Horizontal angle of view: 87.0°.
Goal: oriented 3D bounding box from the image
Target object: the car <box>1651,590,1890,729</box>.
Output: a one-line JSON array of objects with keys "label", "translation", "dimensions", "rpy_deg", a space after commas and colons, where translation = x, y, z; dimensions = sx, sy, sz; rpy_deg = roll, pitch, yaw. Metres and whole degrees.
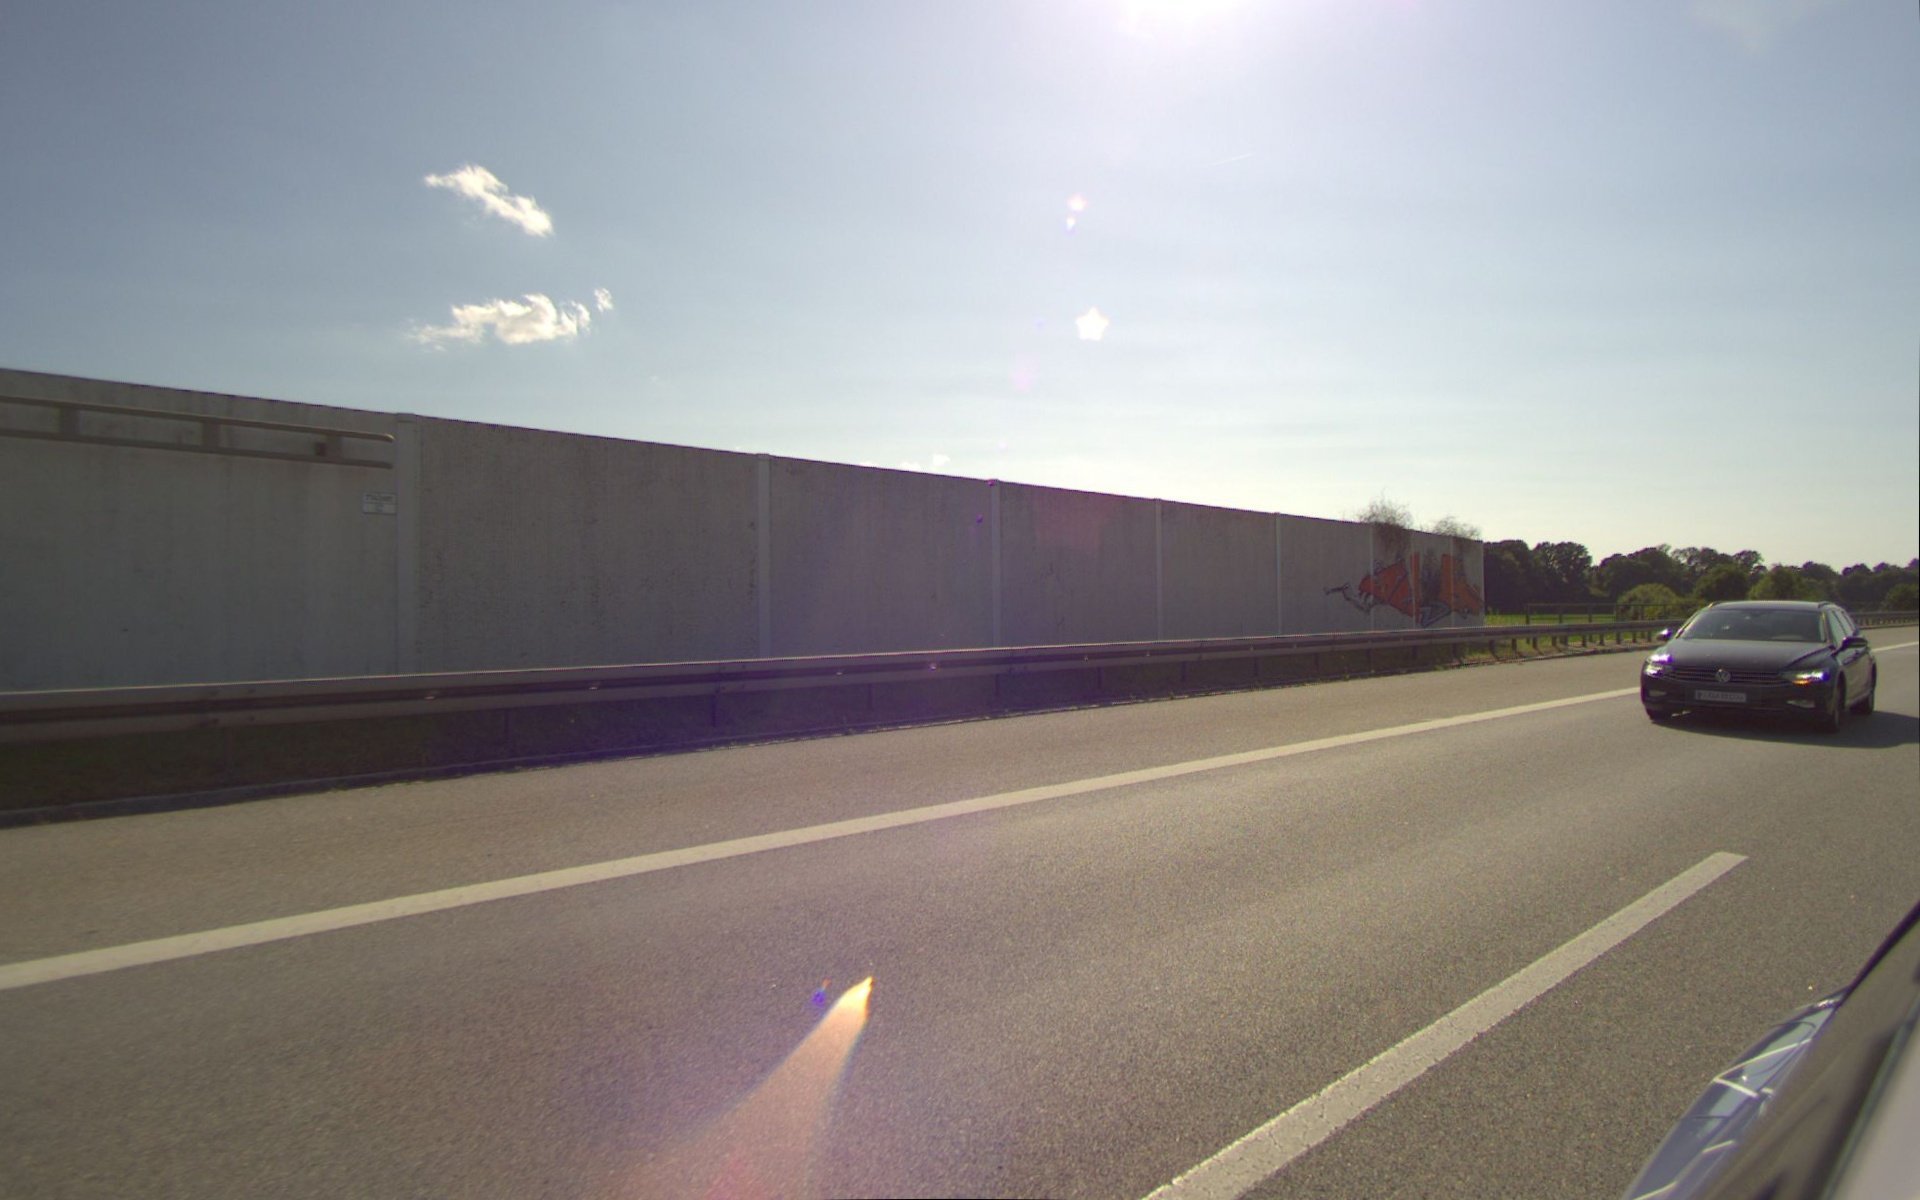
[{"label": "car", "translation": [10.260, 0.605, 12.686], "dimensions": [4.339, 1.417, 1.720], "rpy_deg": [-1, 1, -43]}]
